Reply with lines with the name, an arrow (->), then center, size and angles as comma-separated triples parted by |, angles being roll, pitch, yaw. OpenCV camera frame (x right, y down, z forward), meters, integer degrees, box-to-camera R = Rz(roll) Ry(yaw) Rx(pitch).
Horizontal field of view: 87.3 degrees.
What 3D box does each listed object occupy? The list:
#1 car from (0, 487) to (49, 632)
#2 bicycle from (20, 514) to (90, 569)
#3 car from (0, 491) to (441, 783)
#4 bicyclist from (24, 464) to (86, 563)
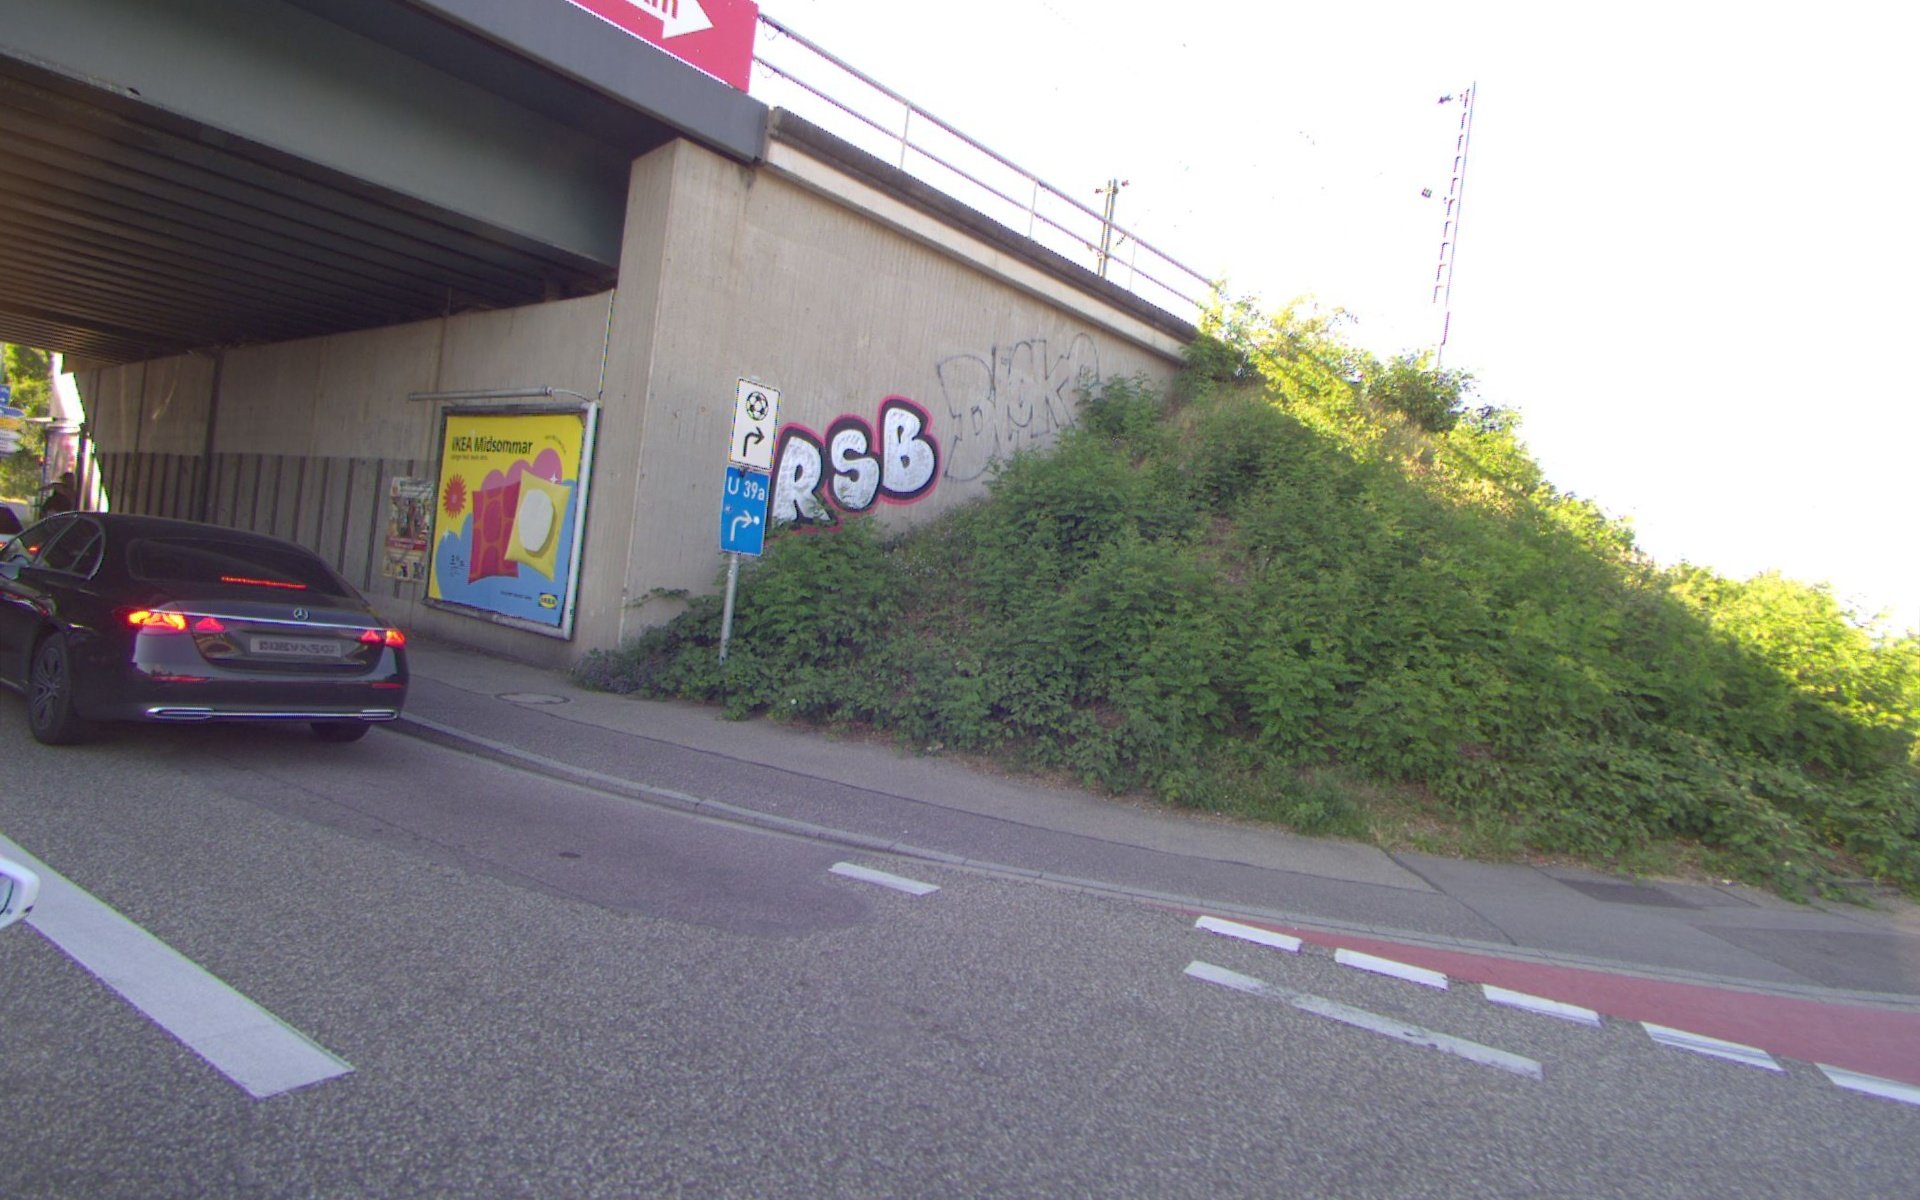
car -> -11.963, -0.609, 11.273 | 3.772, 1.514, 1.772 | 6, 0, 35
bicycle -> -18.685, -1.221, 20.748 | 2.844, 0.975, 0.578 | 5, -1, 39
car -> -6.049, 0.105, 7.521 | 4.530, 1.472, 1.743 | 8, 0, 33
bicyclist -> -18.773, -1.790, 20.868 | 0.821, 1.930, 0.681 | 6, 0, 38
